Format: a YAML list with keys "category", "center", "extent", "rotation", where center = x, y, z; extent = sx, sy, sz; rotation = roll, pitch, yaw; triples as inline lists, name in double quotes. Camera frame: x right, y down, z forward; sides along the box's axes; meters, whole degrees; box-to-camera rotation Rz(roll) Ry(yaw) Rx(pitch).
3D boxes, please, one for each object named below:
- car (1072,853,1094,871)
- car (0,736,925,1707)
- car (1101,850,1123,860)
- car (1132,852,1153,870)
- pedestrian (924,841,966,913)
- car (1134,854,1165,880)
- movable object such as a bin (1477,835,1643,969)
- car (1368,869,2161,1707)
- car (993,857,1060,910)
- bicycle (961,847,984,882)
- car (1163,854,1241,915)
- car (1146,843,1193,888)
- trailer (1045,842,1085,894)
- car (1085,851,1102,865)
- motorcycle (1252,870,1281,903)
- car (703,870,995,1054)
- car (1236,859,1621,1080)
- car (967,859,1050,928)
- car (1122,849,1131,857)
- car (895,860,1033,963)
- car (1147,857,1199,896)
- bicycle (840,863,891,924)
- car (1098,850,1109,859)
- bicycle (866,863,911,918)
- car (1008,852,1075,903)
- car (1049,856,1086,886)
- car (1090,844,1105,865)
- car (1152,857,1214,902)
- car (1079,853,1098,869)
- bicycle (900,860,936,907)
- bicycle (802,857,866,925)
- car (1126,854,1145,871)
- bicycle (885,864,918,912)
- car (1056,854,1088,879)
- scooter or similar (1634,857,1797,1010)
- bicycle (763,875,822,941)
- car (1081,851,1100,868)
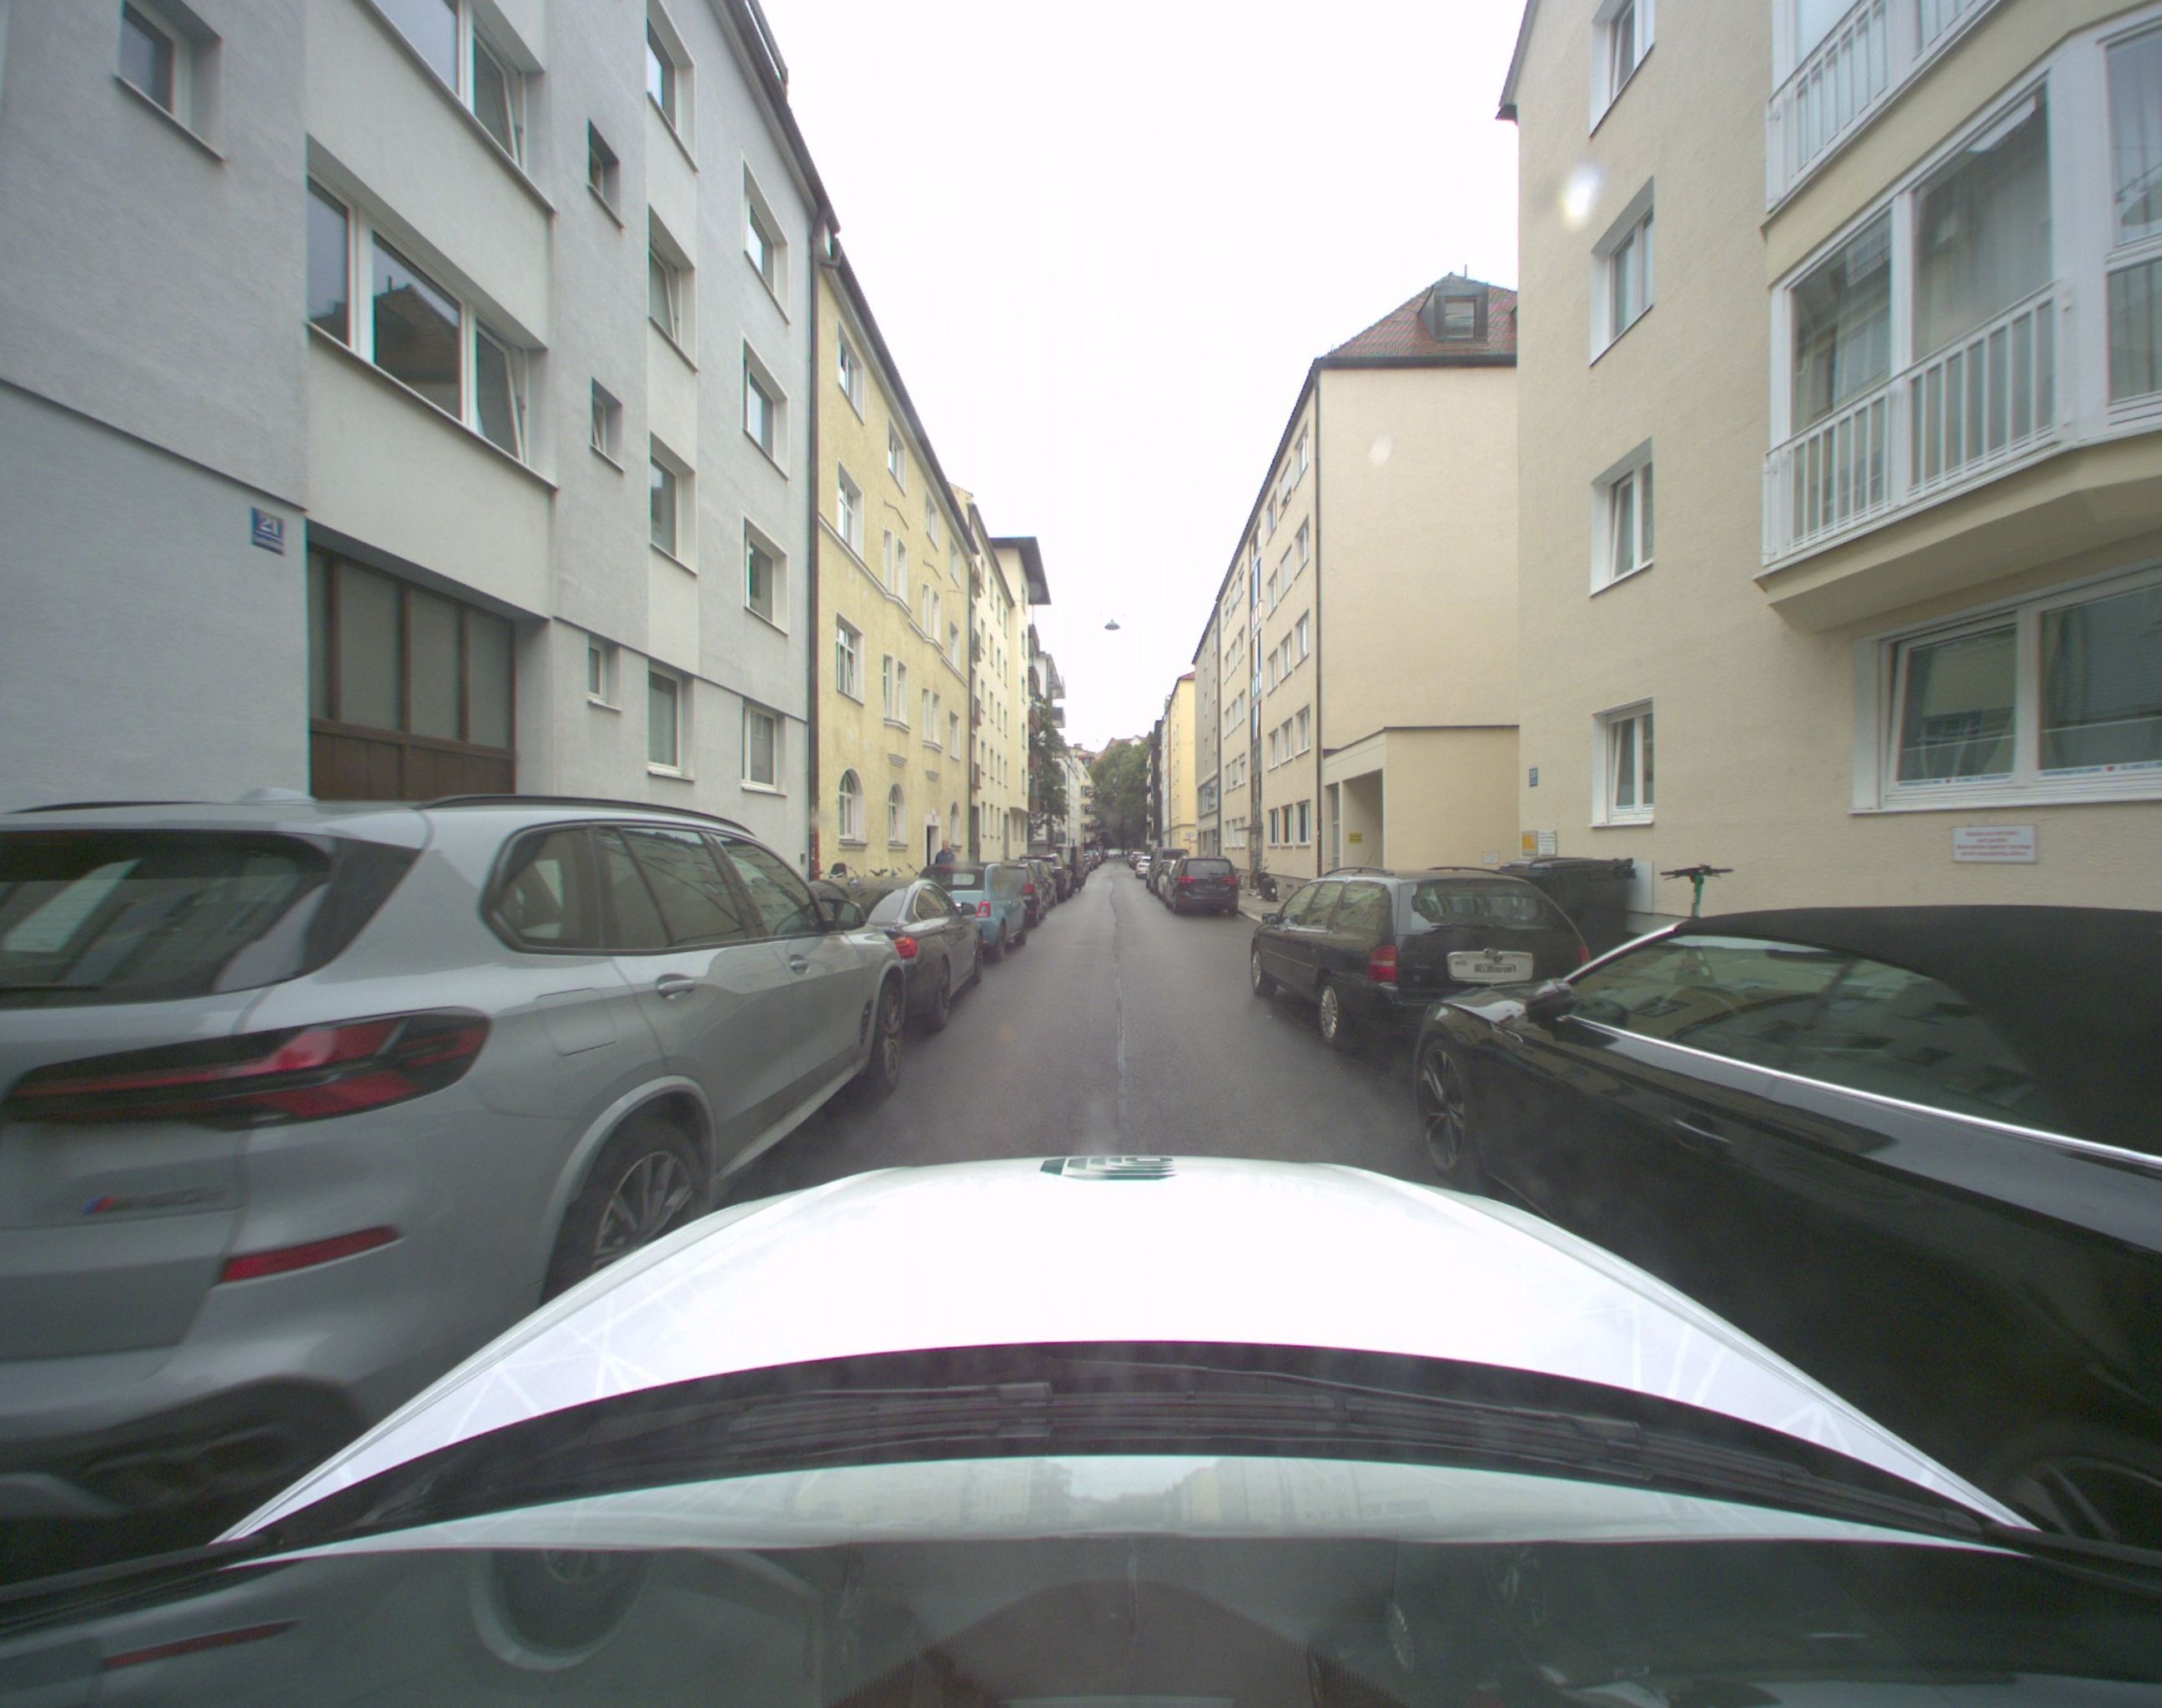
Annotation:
- category: "car"
  center: [0.194, 0.689, 69.278]
  extent: [1.686, 1.442, 3.945]
  rotation: [-1, 0, 3]
- category: "car"
  center: [-2.172, 0.682, 3.817]
  extent: [1.856, 1.770, 4.736]
  rotation: [-2, 1, 1]
- category: "car"
  center: [5.444, 0.095, 144.328]
  extent: [3.872, 1.584, 1.648]
  rotation: [-3, 0, 1]
- category: "car"
  center: [5.560, 0.646, 74.083]
  extent: [1.744, 1.469, 4.345]
  rotation: [3, 1, 2]
- category: "pedestrian"
  center: [-3.449, 0.565, 20.765]
  extent: [0.836, 1.764, 1.068]
  rotation: [1, 0, 2]
- category: "car"
  center: [4.525, 0.822, 54.123]
  extent: [1.812, 1.408, 3.954]
  rotation: [1, 3, 1]
- category: "movable object such as a bin"
  center: [5.587, 0.528, 9.644]
  extent: [1.028, 1.423, 1.587]
  rotation: [-2, -1, 2]
- category: "car"
  center: [2.516, 0.792, 2.474]
  extent: [1.826, 1.406, 4.412]
  rotation: [1, 0, 1]
- category: "car"
  center: [-1.571, 0.841, 24.515]
  extent: [1.556, 1.460, 3.479]
  rotation: [-1, 0, 4]
- category: "bicycle"
  center: [-4.194, 0.407, 31.665]
  extent: [0.592, 1.279, 1.552]
  rotation: [3, 0, 1]
- category: "car"
  center: [3.459, 0.826, 23.988]
  extent: [1.705, 1.608, 4.245]
  rotation: [1, 0, 1]
- category: "car"
  center: [4.197, 0.499, 39.119]
  extent: [1.745, 1.975, 4.343]
  rotation: [2, 1, 0]
- category: "trailer"
  center: [-0.662, 0.585, 35.393]
  extent: [1.349, 2.116, 3.322]
  rotation: [0, 0, 5]
- category: "car"
  center: [1.487, 0.494, 96.128]
  extent: [1.769, 1.487, 4.523]
  rotation: [-3, 0, 3]
- category: "motorcycle"
  center: [5.999, 1.031, 26.390]
  extent: [0.480, 0.967, 1.912]
  rotation: [-4, 0, 2]
- category: "car"
  center: [-2.120, 0.924, 8.775]
  extent: [1.805, 1.386, 4.251]
  rotation: [-2, 0, 1]
- category: "car"
  center: [2.804, 0.802, 7.803]
  extent: [1.711, 1.471, 4.530]
  rotation: [1, 0, -1]
- category: "car"
  center: [-1.647, 0.868, 19.544]
  extent: [1.557, 1.460, 3.764]
  rotation: [-1, 0, 1]
- category: "car"
  center: [9.095, -0.168, 161.418]
  extent: [1.636, 1.383, 3.748]
  rotation: [-3, 0, 2]
- category: "car"
  center: [-1.810, 0.859, 13.563]
  extent: [1.556, 1.460, 3.408]
  rotation: [-1, 0, 4]
- category: "car"
  center: [3.833, 0.905, 34.443]
  extent: [1.706, 1.486, 4.244]
  rotation: [1, 0, 0]
- category: "bicycle"
  center: [-4.627, 0.826, 17.595]
  extent: [0.591, 1.234, 1.737]
  rotation: [1, 0, 2]
- category: "car"
  center: [3.750, 0.010, 134.305]
  extent: [1.636, 1.383, 3.484]
  rotation: [-3, 0, 2]
- category: "bicycle"
  center: [-4.570, 0.839, 19.417]
  extent: [0.591, 1.234, 1.737]
  rotation: [1, 0, 2]
- category: "car"
  center: [-1.333, 0.768, 29.094]
  extent: [1.871, 1.660, 4.419]
  rotation: [-1, 0, 4]
- category: "car"
  center: [-0.635, 0.856, 41.609]
  extent: [1.645, 1.435, 3.805]
  rotation: [-1, 0, 3]
- category: "car"
  center: [2.362, 0.011, 115.788]
  extent: [1.929, 2.801, 4.535]
  rotation: [-3, 0, 2]
- category: "car"
  center: [3.616, 0.867, 29.584]
  extent: [1.706, 1.486, 4.244]
  rotation: [1, 0, 0]
- category: "car"
  center: [0.708, 0.630, 76.941]
  extent: [1.687, 1.442, 3.978]
  rotation: [-1, 0, 1]
- category: "bicycle"
  center: [-4.486, 0.789, 22.488]
  extent: [0.591, 1.234, 1.737]
  rotation: [1, 0, 2]
- category: "bicycle"
  center: [-4.747, 0.684, 15.773]
  extent: [0.634, 1.234, 1.737]
  rotation: [1, 0, 2]
- category: "car"
  center: [5.599, 0.869, 84.229]
  extent: [1.676, 1.567, 4.416]
  rotation: [2, 1, 1]
- category: "bicycle"
  center: [-4.651, 0.849, 21.171]
  extent: [0.437, 1.190, 1.633]
  rotation: [1, 0, 2]
- category: "car"
  center: [-0.541, 0.759, 52.453]
  extent: [1.758, 1.483, 4.428]
  rotation: [-1, 1, 4]
- category: "scooter or similar"
  center: [5.686, 0.669, 7.374]
  extent: [0.574, 1.266, 1.137]
  rotation: [-2, -1, 2]
- category: "bicycle"
  center: [-4.896, 0.884, 13.910]
  extent: [0.394, 1.031, 1.571]
  rotation: [1, 0, 2]
- category: "car"
  center: [0.968, 0.519, 82.992]
  extent: [1.770, 1.629, 4.417]
  rotation: [-1, 0, 2]
